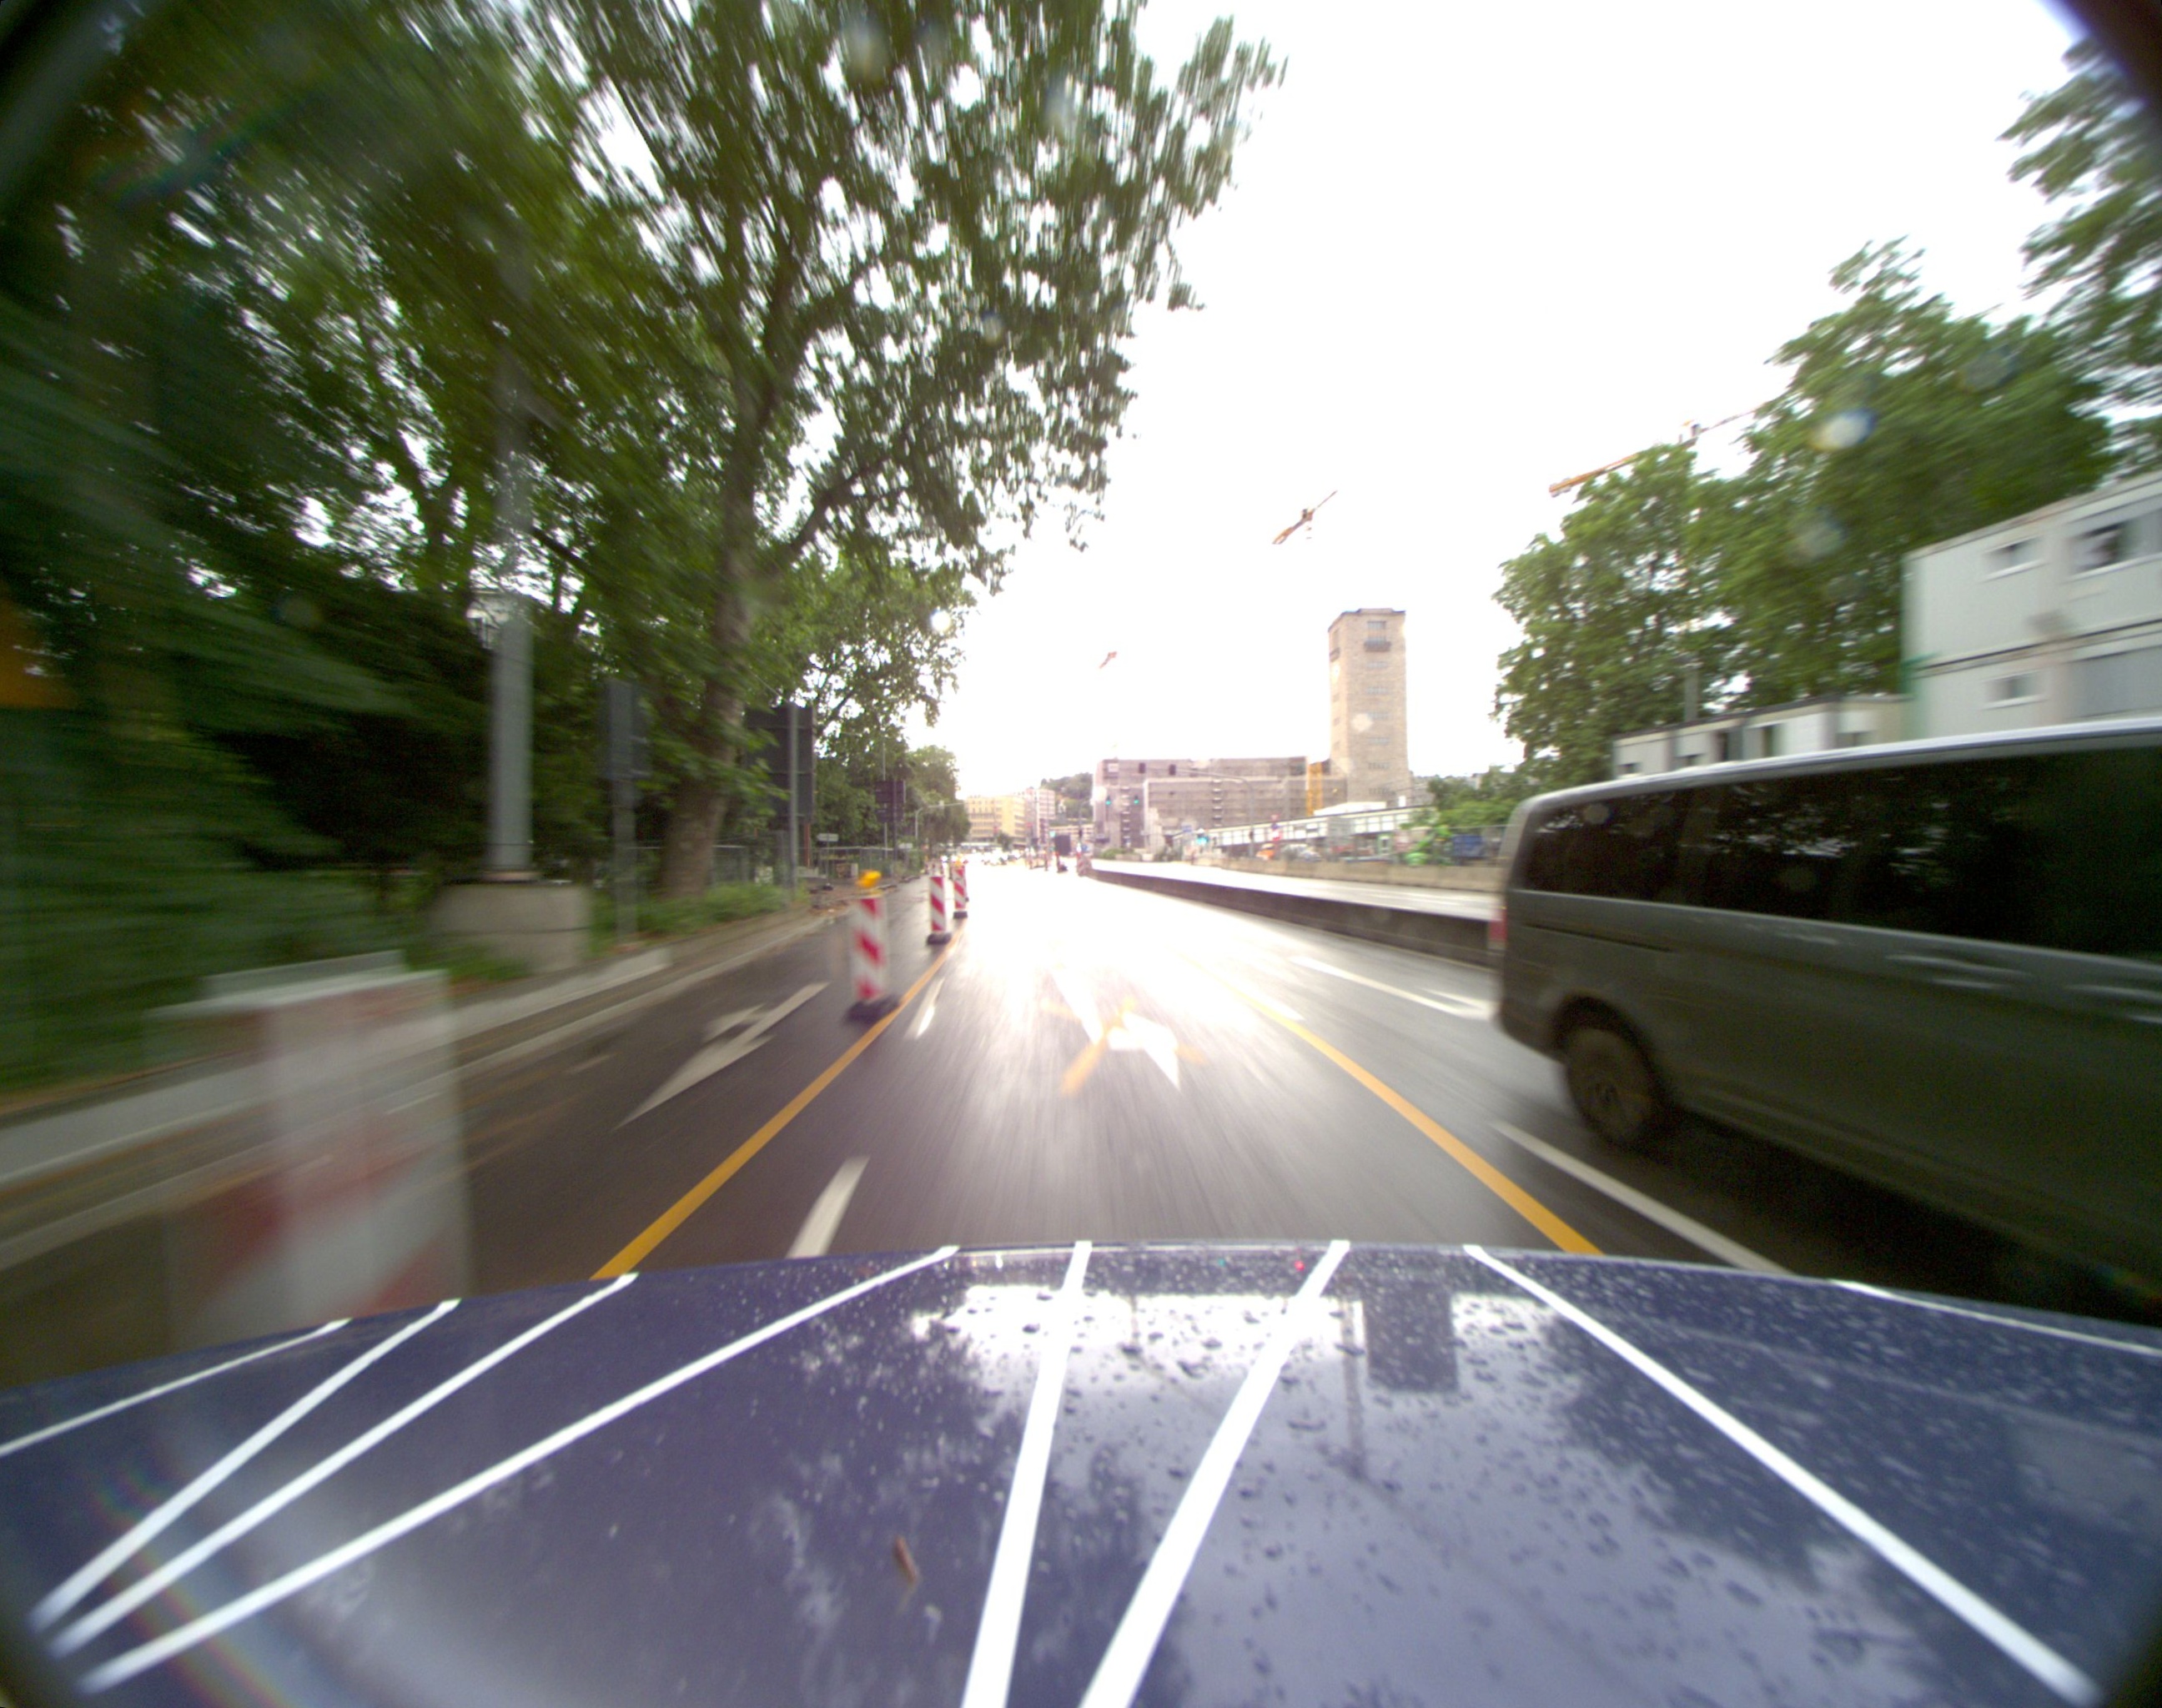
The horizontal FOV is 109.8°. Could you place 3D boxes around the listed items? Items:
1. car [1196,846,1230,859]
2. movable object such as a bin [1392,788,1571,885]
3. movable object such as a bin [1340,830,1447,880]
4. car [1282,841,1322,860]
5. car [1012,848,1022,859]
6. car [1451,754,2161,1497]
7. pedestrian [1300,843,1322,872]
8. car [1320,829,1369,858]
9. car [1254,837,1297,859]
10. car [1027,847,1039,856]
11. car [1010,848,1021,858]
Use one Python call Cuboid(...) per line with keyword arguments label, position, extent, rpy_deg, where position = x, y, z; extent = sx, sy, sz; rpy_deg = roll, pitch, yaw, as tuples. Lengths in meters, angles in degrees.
Cuboid(label="car", position=(20.442, -0.261, 117.992), extent=(2.004, 2.002, 5.012), rpy_deg=(-1, 0, -44))
Cuboid(label="movable object such as a bin", position=(21.601, -0.895, 41.827), extent=(4.765, 4.775, 8.352), rpy_deg=(0, 1, -8))
Cuboid(label="movable object such as a bin", position=(20.675, 0.045, 50.817), extent=(3.945, 3.110, 6.383), rpy_deg=(0, 1, -8))
Cuboid(label="car", position=(20.663, -0.360, 71.221), extent=(1.851, 1.751, 4.793), rpy_deg=(0, 1, -8))
Cuboid(label="car", position=(-13.265, -0.094, 157.101), extent=(1.999, 2.101, 4.711), rpy_deg=(0, 0, -5))
Cuboid(label="car", position=(3.628, 0.646, 2.220), extent=(2.000, 1.845, 5.354), rpy_deg=(-2, 0, -6))
Cuboid(label="pedestrian", position=(16.331, 0.235, 53.995), extent=(1.182, 2.002, 1.174), rpy_deg=(-2, 1, 3))
Cuboid(label="car", position=(28.004, -1.108, 80.979), extent=(2.281, 3.048, 6.163), rpy_deg=(0, 1, -9))
Cuboid(label="car", position=(19.654, -0.593, 77.060), extent=(2.001, 2.088, 5.576), rpy_deg=(1, 0, -11))
Cuboid(label="car", position=(-8.973, -0.450, 142.088), extent=(1.833, 1.643, 4.570), rpy_deg=(0, 0, -7))
Cuboid(label="car", position=(-12.320, -0.256, 142.279), extent=(2.000, 1.804, 4.290), rpy_deg=(0, 1, -7))
